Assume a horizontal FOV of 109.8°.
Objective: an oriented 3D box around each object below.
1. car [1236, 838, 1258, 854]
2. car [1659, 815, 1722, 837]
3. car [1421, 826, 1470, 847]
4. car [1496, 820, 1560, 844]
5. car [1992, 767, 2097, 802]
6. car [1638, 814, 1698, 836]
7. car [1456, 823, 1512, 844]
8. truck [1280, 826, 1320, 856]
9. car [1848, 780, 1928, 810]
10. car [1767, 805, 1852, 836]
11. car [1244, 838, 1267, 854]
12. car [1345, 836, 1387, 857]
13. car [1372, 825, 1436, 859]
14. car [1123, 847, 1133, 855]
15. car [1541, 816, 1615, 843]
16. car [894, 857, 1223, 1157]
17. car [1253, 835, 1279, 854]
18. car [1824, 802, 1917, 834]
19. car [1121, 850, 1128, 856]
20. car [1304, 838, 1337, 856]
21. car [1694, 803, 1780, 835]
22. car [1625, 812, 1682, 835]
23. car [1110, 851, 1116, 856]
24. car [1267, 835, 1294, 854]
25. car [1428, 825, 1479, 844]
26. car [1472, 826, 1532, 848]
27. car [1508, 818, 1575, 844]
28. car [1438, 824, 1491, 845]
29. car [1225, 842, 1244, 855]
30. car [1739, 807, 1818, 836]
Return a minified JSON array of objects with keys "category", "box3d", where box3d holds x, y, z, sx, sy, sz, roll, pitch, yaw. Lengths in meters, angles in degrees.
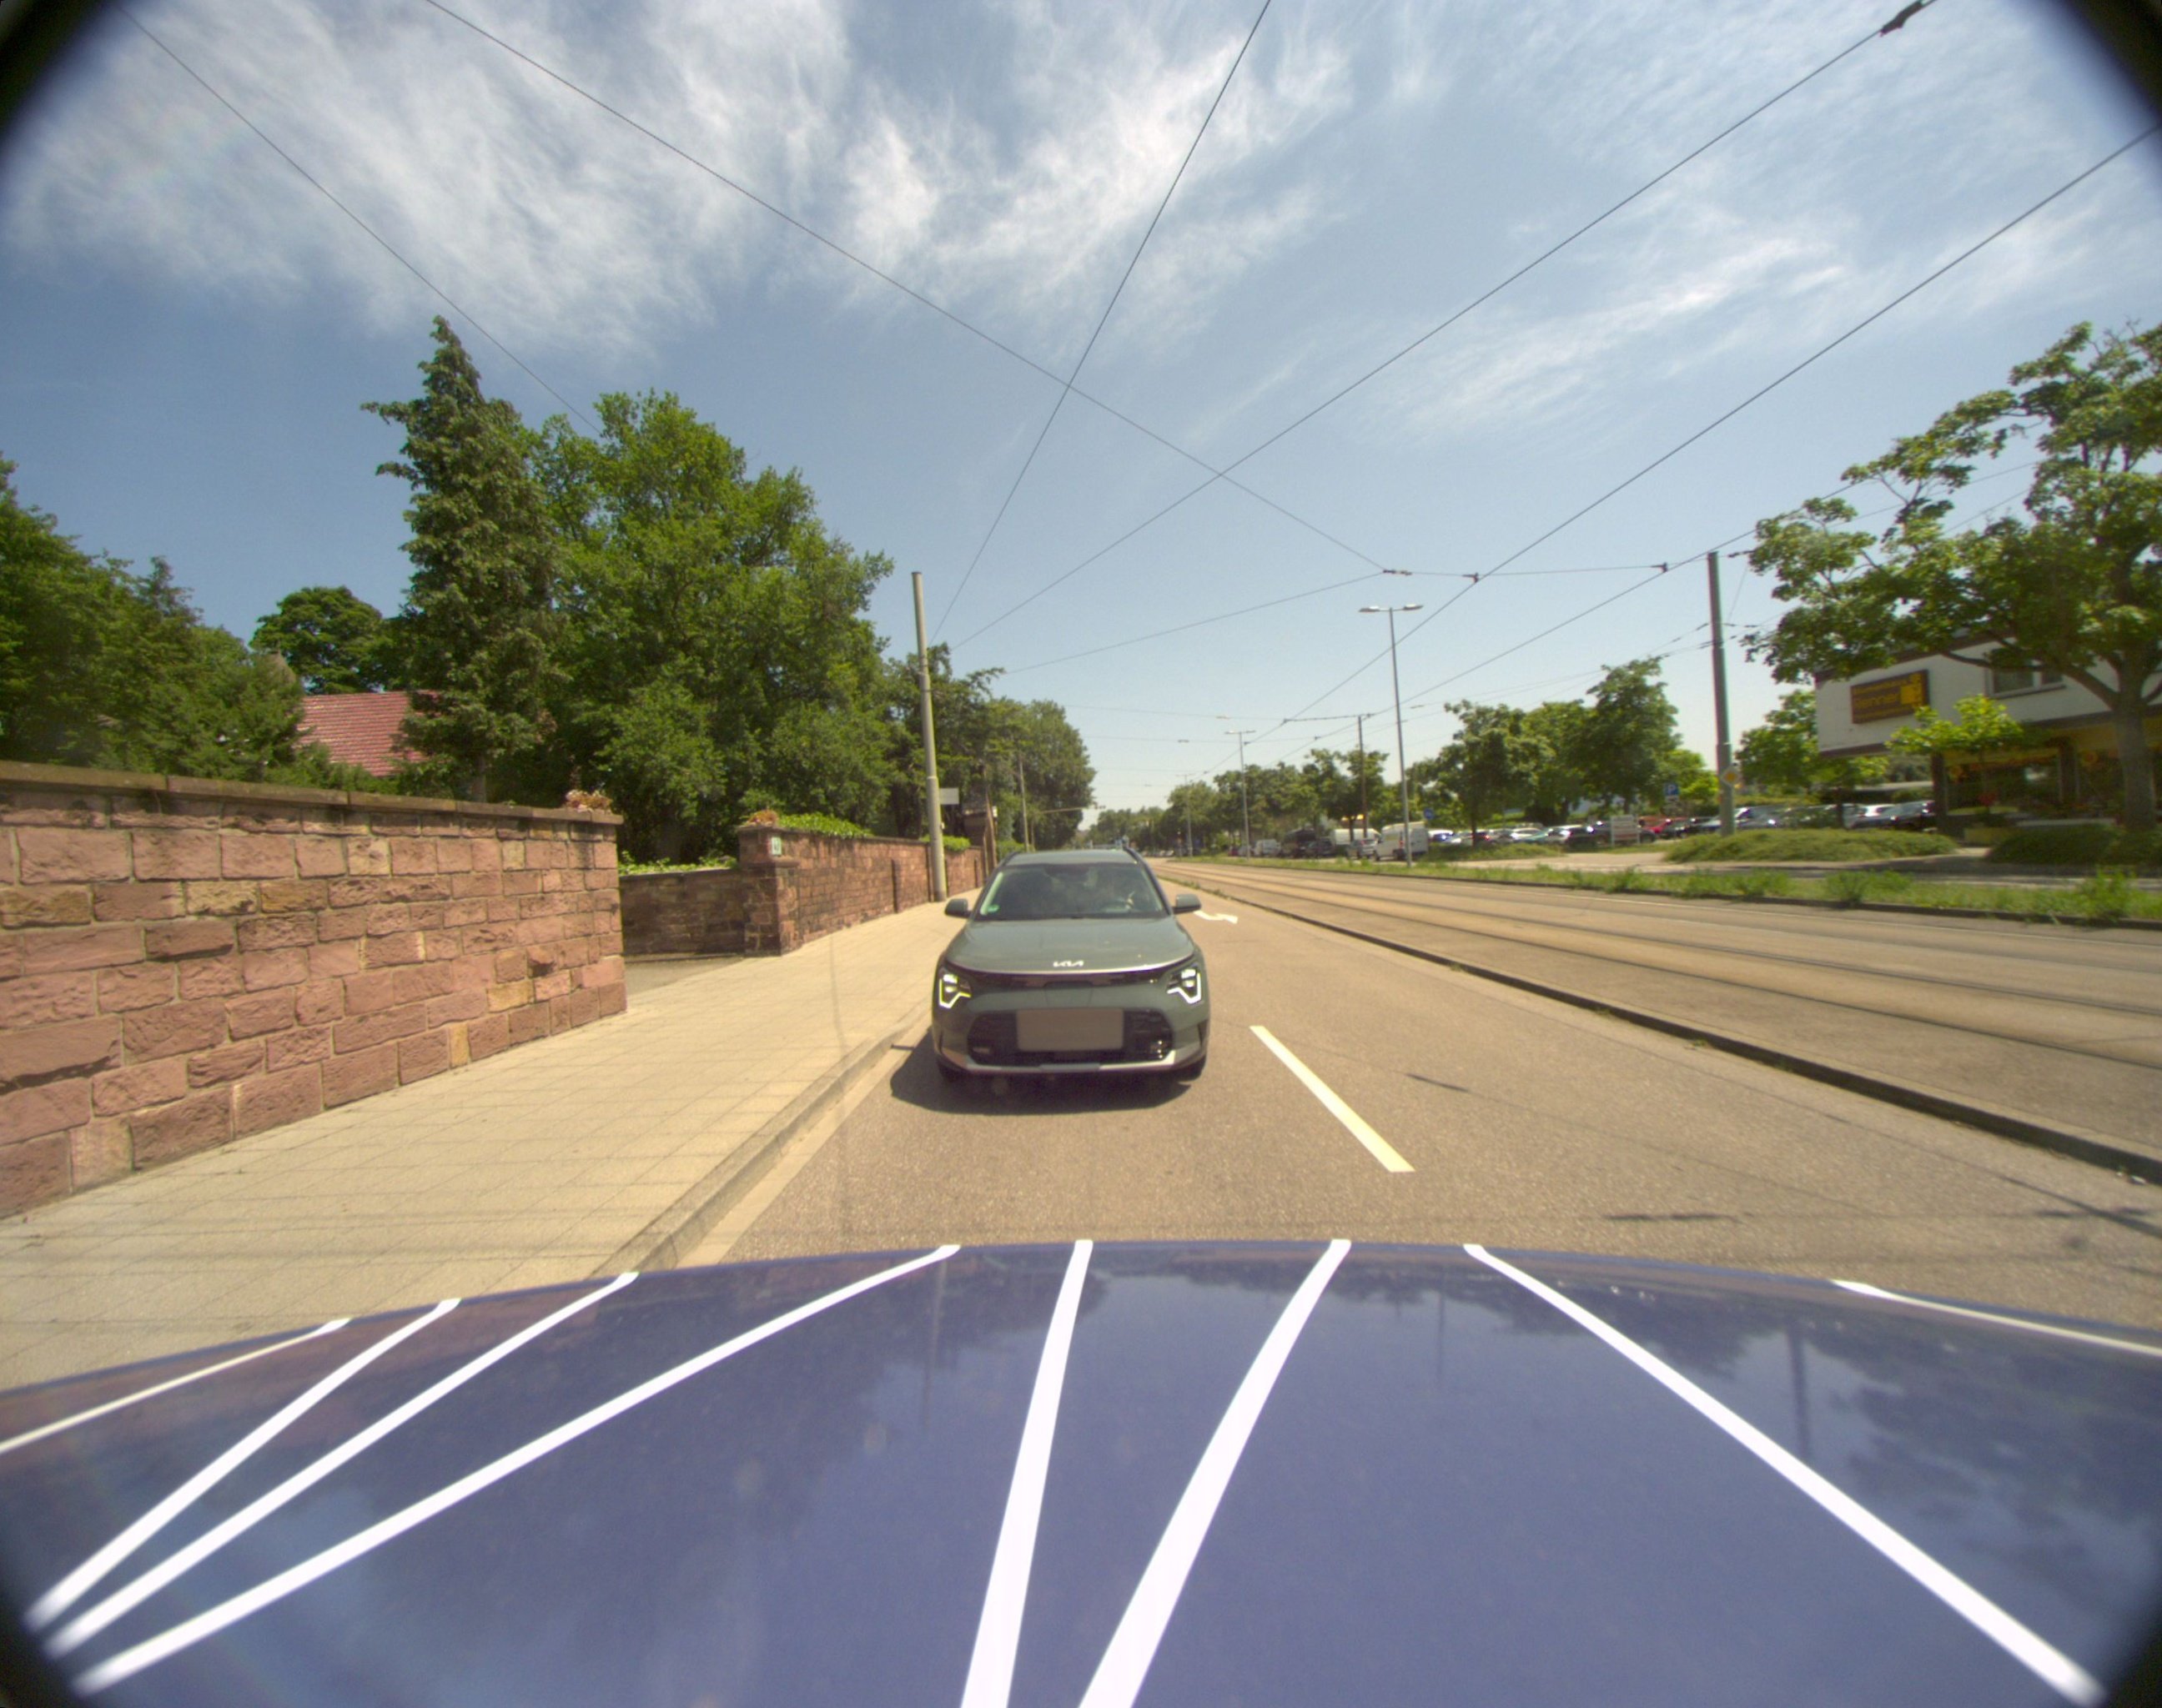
[{"category":"car","box3d":[20.673,-0.994,94.623,1.681,1.783,4.202,-3,0,0]},{"category":"car","box3d":[43.853,-2.015,54.676,3.355,1.381,1.506,-4,1,-2]},{"category":"car","box3d":[31.450,-1.501,65.609,3.414,1.497,1.603,-4,1,-5]},{"category":"car","box3d":[30.736,-1.484,52.271,3.414,1.386,1.603,-4,1,-5]},{"category":"car","box3d":[61.276,-4.401,48.385,3.996,1.761,2.000,-3,1,2]},{"category":"car","box3d":[44.233,-2.193,57.314,3.355,1.450,1.506,-4,1,-2]},{"category":"car","box3d":[30.585,-1.540,57.730,3.414,1.386,1.603,-4,1,-5]},{"category":"truck","box3d":[20.163,-1.205,70.285,2.225,2.526,4.929,-3,0,1]},{"category":"car","box3d":[63.340,-4.603,59.710,3.996,2.002,2.000,-3,1,2]},{"category":"car","box3d":[42.698,-1.939,44.570,3.492,1.528,1.624,-4,1,-2]},{"category":"car","box3d":[20.623,-0.939,89.888,1.681,1.783,4.202,-4,0,0]},{"category":"car","box3d":[20.265,-0.514,54.202,1.675,1.378,3.569,-3,0,2]},{"category":"car","box3d":[20.220,-0.722,47.819,1.998,1.872,4.661,-4,0,1]},{"category":"car","box3d":[10.680,-0.623,173.710,1.998,1.652,4.000,-3,0,0]},{"category":"car","box3d":[30.924,-1.511,47.316,3.414,1.482,1.793,-4,0,-5]},{"category":"car","box3d":[-0.098,0.872,6.357,1.789,1.561,4.184,-2,1,1]},{"category":"car","box3d":[20.475,-1.009,84.369,1.681,1.963,4.509,-4,0,0]},{"category":"car","box3d":[43.690,-1.974,42.067,3.492,1.528,1.624,-4,1,-2]},{"category":"car","box3d":[13.669,-0.313,238.678,1.737,1.469,4.000,-4,0,0]},{"category":"car","box3d":[20.174,-0.585,64.121,1.675,1.378,3.669,-3,0,2]},{"category":"car","box3d":[42.735,-2.248,49.547,3.998,1.774,1.813,-4,1,-2]},{"category":"car","box3d":[44.993,-2.423,59.767,3.355,1.552,1.506,-4,1,-2]},{"category":"car","box3d":[10.987,-0.165,261.527,1.998,1.652,4.000,-4,0,0]},{"category":"car","box3d":[20.645,-0.947,78.765,1.681,1.783,3.868,-4,0,0]},{"category":"car","box3d":[30.854,-1.609,63.031,3.414,1.386,1.603,-4,1,-5]},{"category":"car","box3d":[30.184,-1.216,54.535,3.414,1.386,1.603,-4,1,-5]},{"category":"car","box3d":[30.221,-1.493,49.881,3.414,1.482,1.598,-4,1,-5]},{"category":"car","box3d":[30.329,-1.557,60.136,3.414,1.386,1.603,-4,1,-5]},{"category":"car","box3d":[20.457,-0.709,101.429,1.681,1.693,3.823,-4,0,0]},{"category":"car","box3d":[43.263,-2.008,47.174,3.492,1.528,1.534,-4,1,-2]}]
